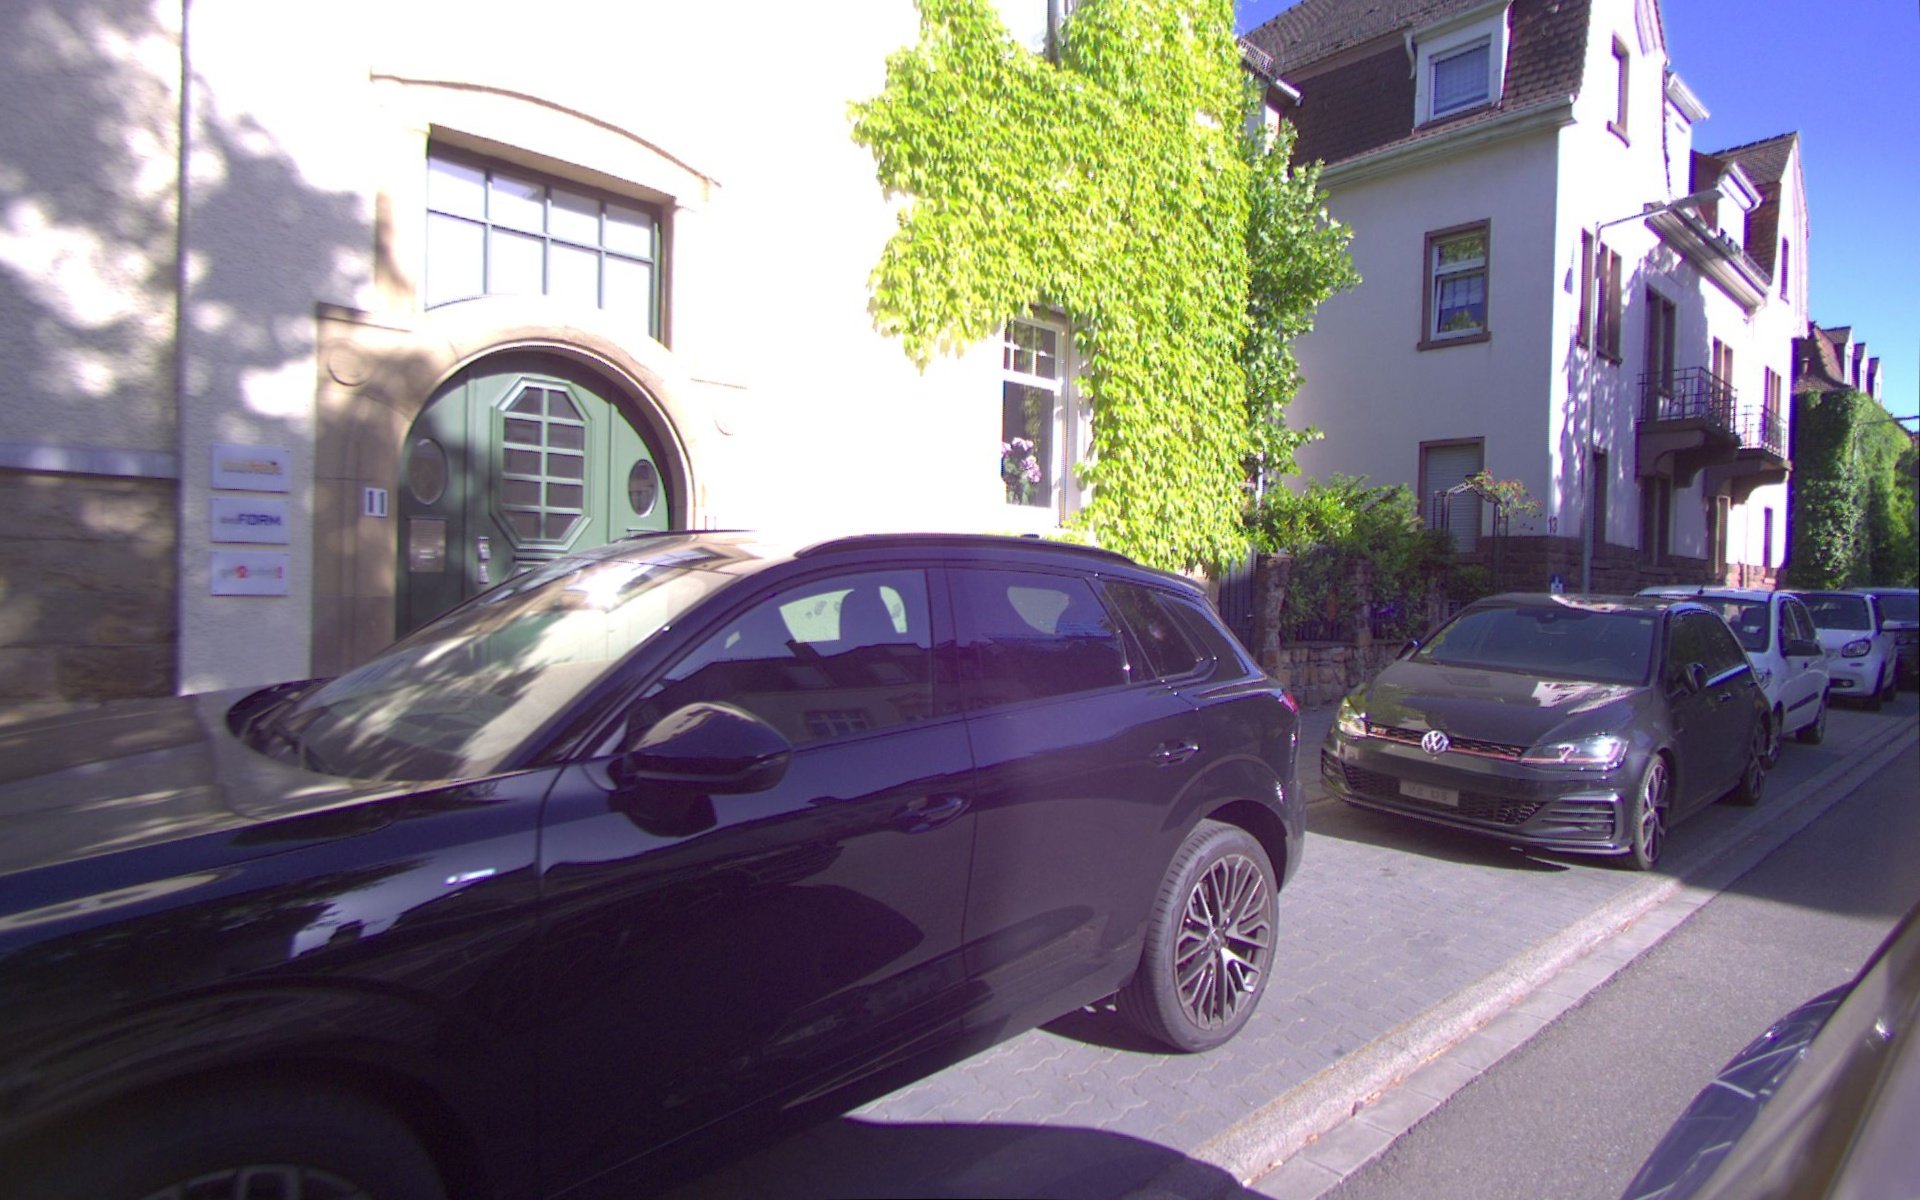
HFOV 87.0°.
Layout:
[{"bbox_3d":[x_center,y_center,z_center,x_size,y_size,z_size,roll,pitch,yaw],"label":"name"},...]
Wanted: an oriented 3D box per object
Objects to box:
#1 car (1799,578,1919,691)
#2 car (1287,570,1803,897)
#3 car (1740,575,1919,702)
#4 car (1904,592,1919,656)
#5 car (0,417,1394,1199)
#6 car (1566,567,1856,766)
[{"bbox_3d":[16.071,0.504,17.442,4.245,1.717,1.781,-2,0,-41],"label":"car"},{"bbox_3d":[4.073,0.568,6.741,4.121,1.453,1.713,-2,5,-41],"label":"car"},{"bbox_3d":[12.304,0.447,14.230,2.820,1.568,1.628,-2,1,-41],"label":"car"},{"bbox_3d":[24.229,0.548,24.459,4.425,1.472,1.646,0,1,-41],"label":"car"},{"bbox_3d":[-0.638,0.466,2.929,4.292,1.538,1.795,-2,4,-41],"label":"car"},{"bbox_3d":[7.456,0.488,9.956,3.409,1.568,1.578,-2,4,-41],"label":"car"}]
